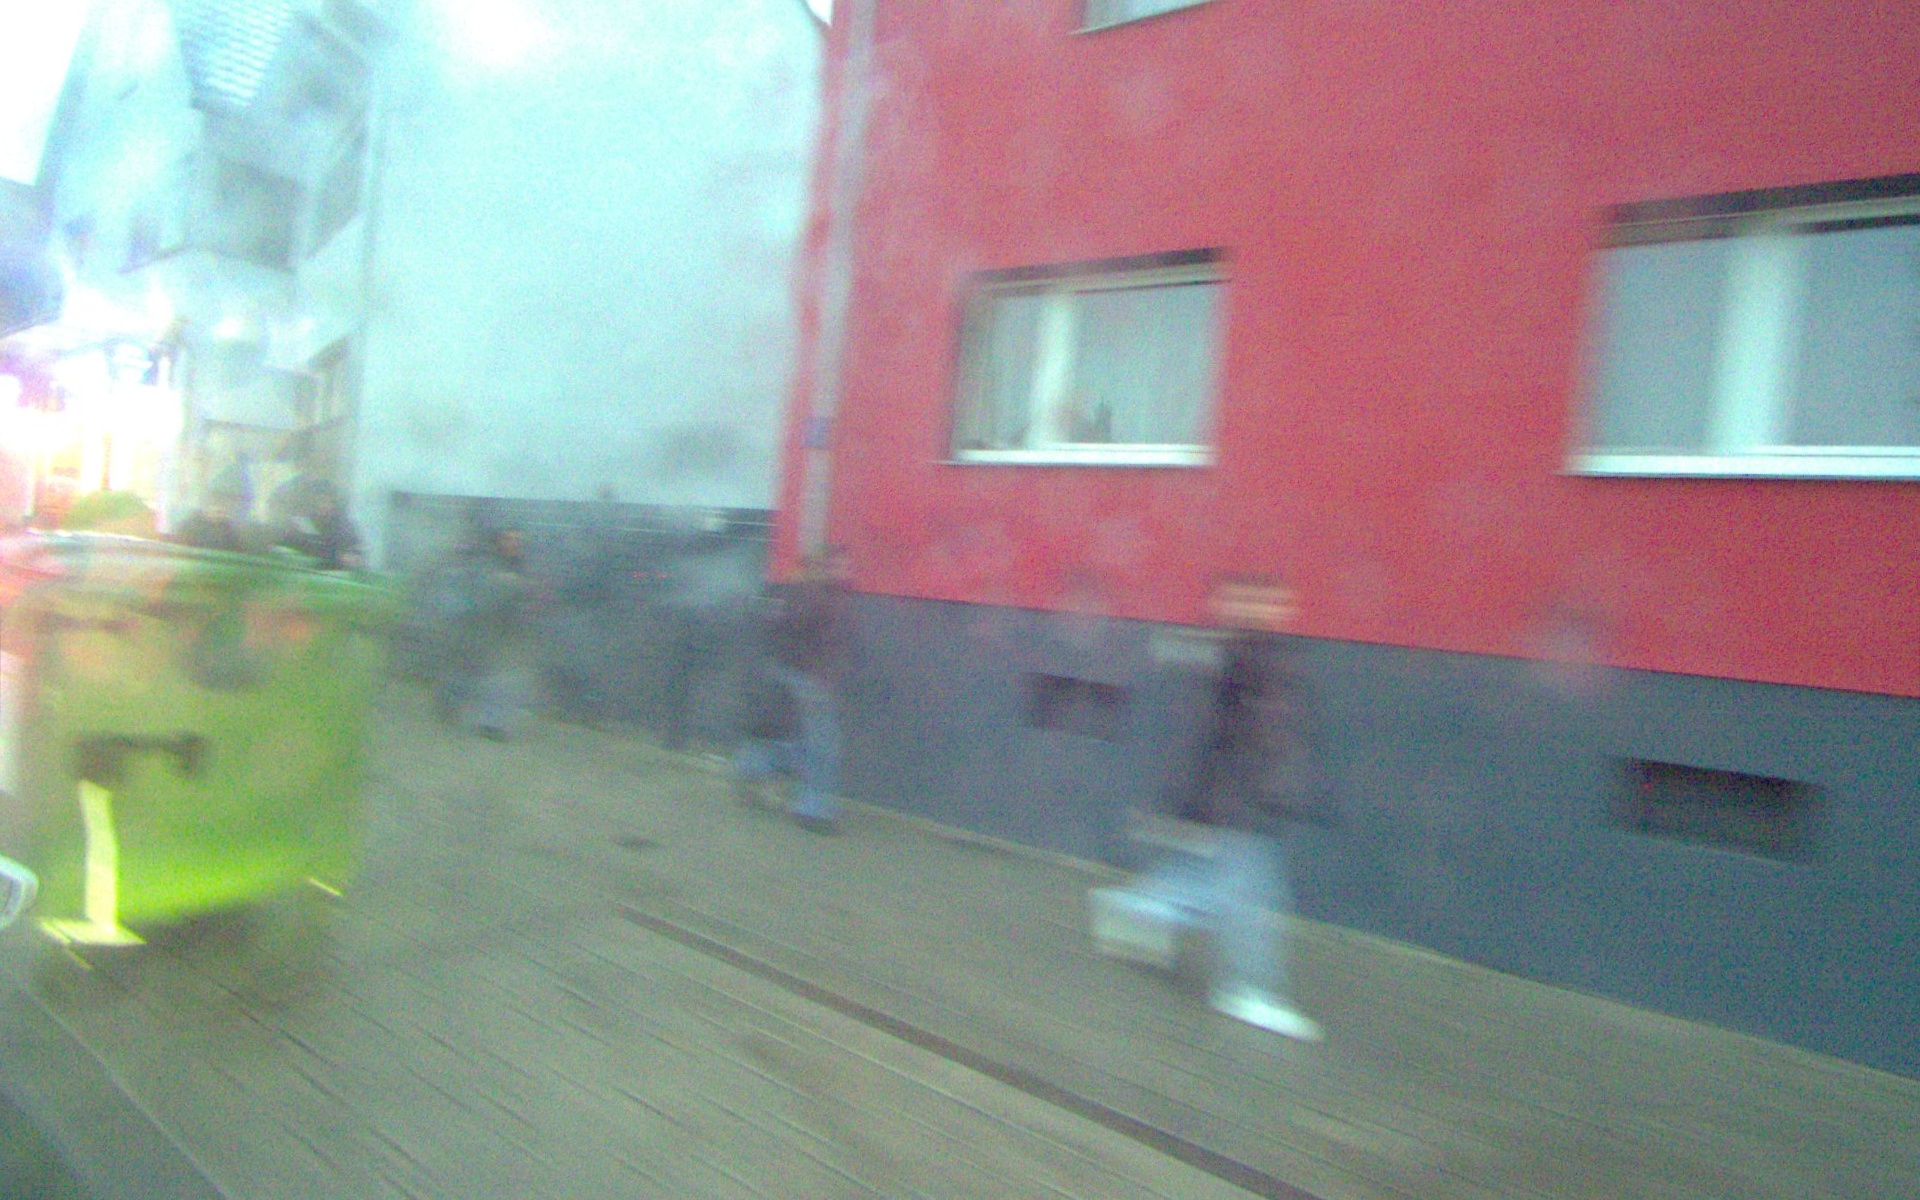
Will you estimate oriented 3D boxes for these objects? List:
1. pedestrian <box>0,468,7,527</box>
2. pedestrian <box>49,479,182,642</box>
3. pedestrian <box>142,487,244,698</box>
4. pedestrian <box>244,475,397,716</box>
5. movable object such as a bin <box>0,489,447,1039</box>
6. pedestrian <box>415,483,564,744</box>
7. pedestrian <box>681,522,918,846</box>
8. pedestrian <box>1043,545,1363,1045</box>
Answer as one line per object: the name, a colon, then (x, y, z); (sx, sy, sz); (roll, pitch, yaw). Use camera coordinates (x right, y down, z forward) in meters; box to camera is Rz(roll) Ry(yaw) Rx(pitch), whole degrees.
pedestrian: (-16.976, -1.437, 17.357); (0.495, 1.746, 0.617); (3, -3, 45)
pedestrian: (-9.301, -0.427, 11.089); (0.889, 1.647, 0.620); (8, 1, 20)
pedestrian: (-6.404, -0.080, 8.386); (0.478, 1.651, 1.006); (5, 2, -43)
pedestrian: (-4.975, -0.044, 7.808); (0.709, 1.737, 1.021); (5, 2, -43)
movable object such as a bin: (-2.748, 0.400, 3.508); (1.395, 1.440, 1.128); (7, 4, 35)
pedestrian: (-3.498, 0.086, 7.458); (0.853, 1.822, 0.528); (7, 0, 43)
pedestrian: (-0.965, 0.450, 5.989); (1.036, 1.700, 0.746); (7, 2, 39)
pedestrian: (0.926, 0.660, 3.880); (0.940, 1.671, 0.528); (4, -3, 40)
